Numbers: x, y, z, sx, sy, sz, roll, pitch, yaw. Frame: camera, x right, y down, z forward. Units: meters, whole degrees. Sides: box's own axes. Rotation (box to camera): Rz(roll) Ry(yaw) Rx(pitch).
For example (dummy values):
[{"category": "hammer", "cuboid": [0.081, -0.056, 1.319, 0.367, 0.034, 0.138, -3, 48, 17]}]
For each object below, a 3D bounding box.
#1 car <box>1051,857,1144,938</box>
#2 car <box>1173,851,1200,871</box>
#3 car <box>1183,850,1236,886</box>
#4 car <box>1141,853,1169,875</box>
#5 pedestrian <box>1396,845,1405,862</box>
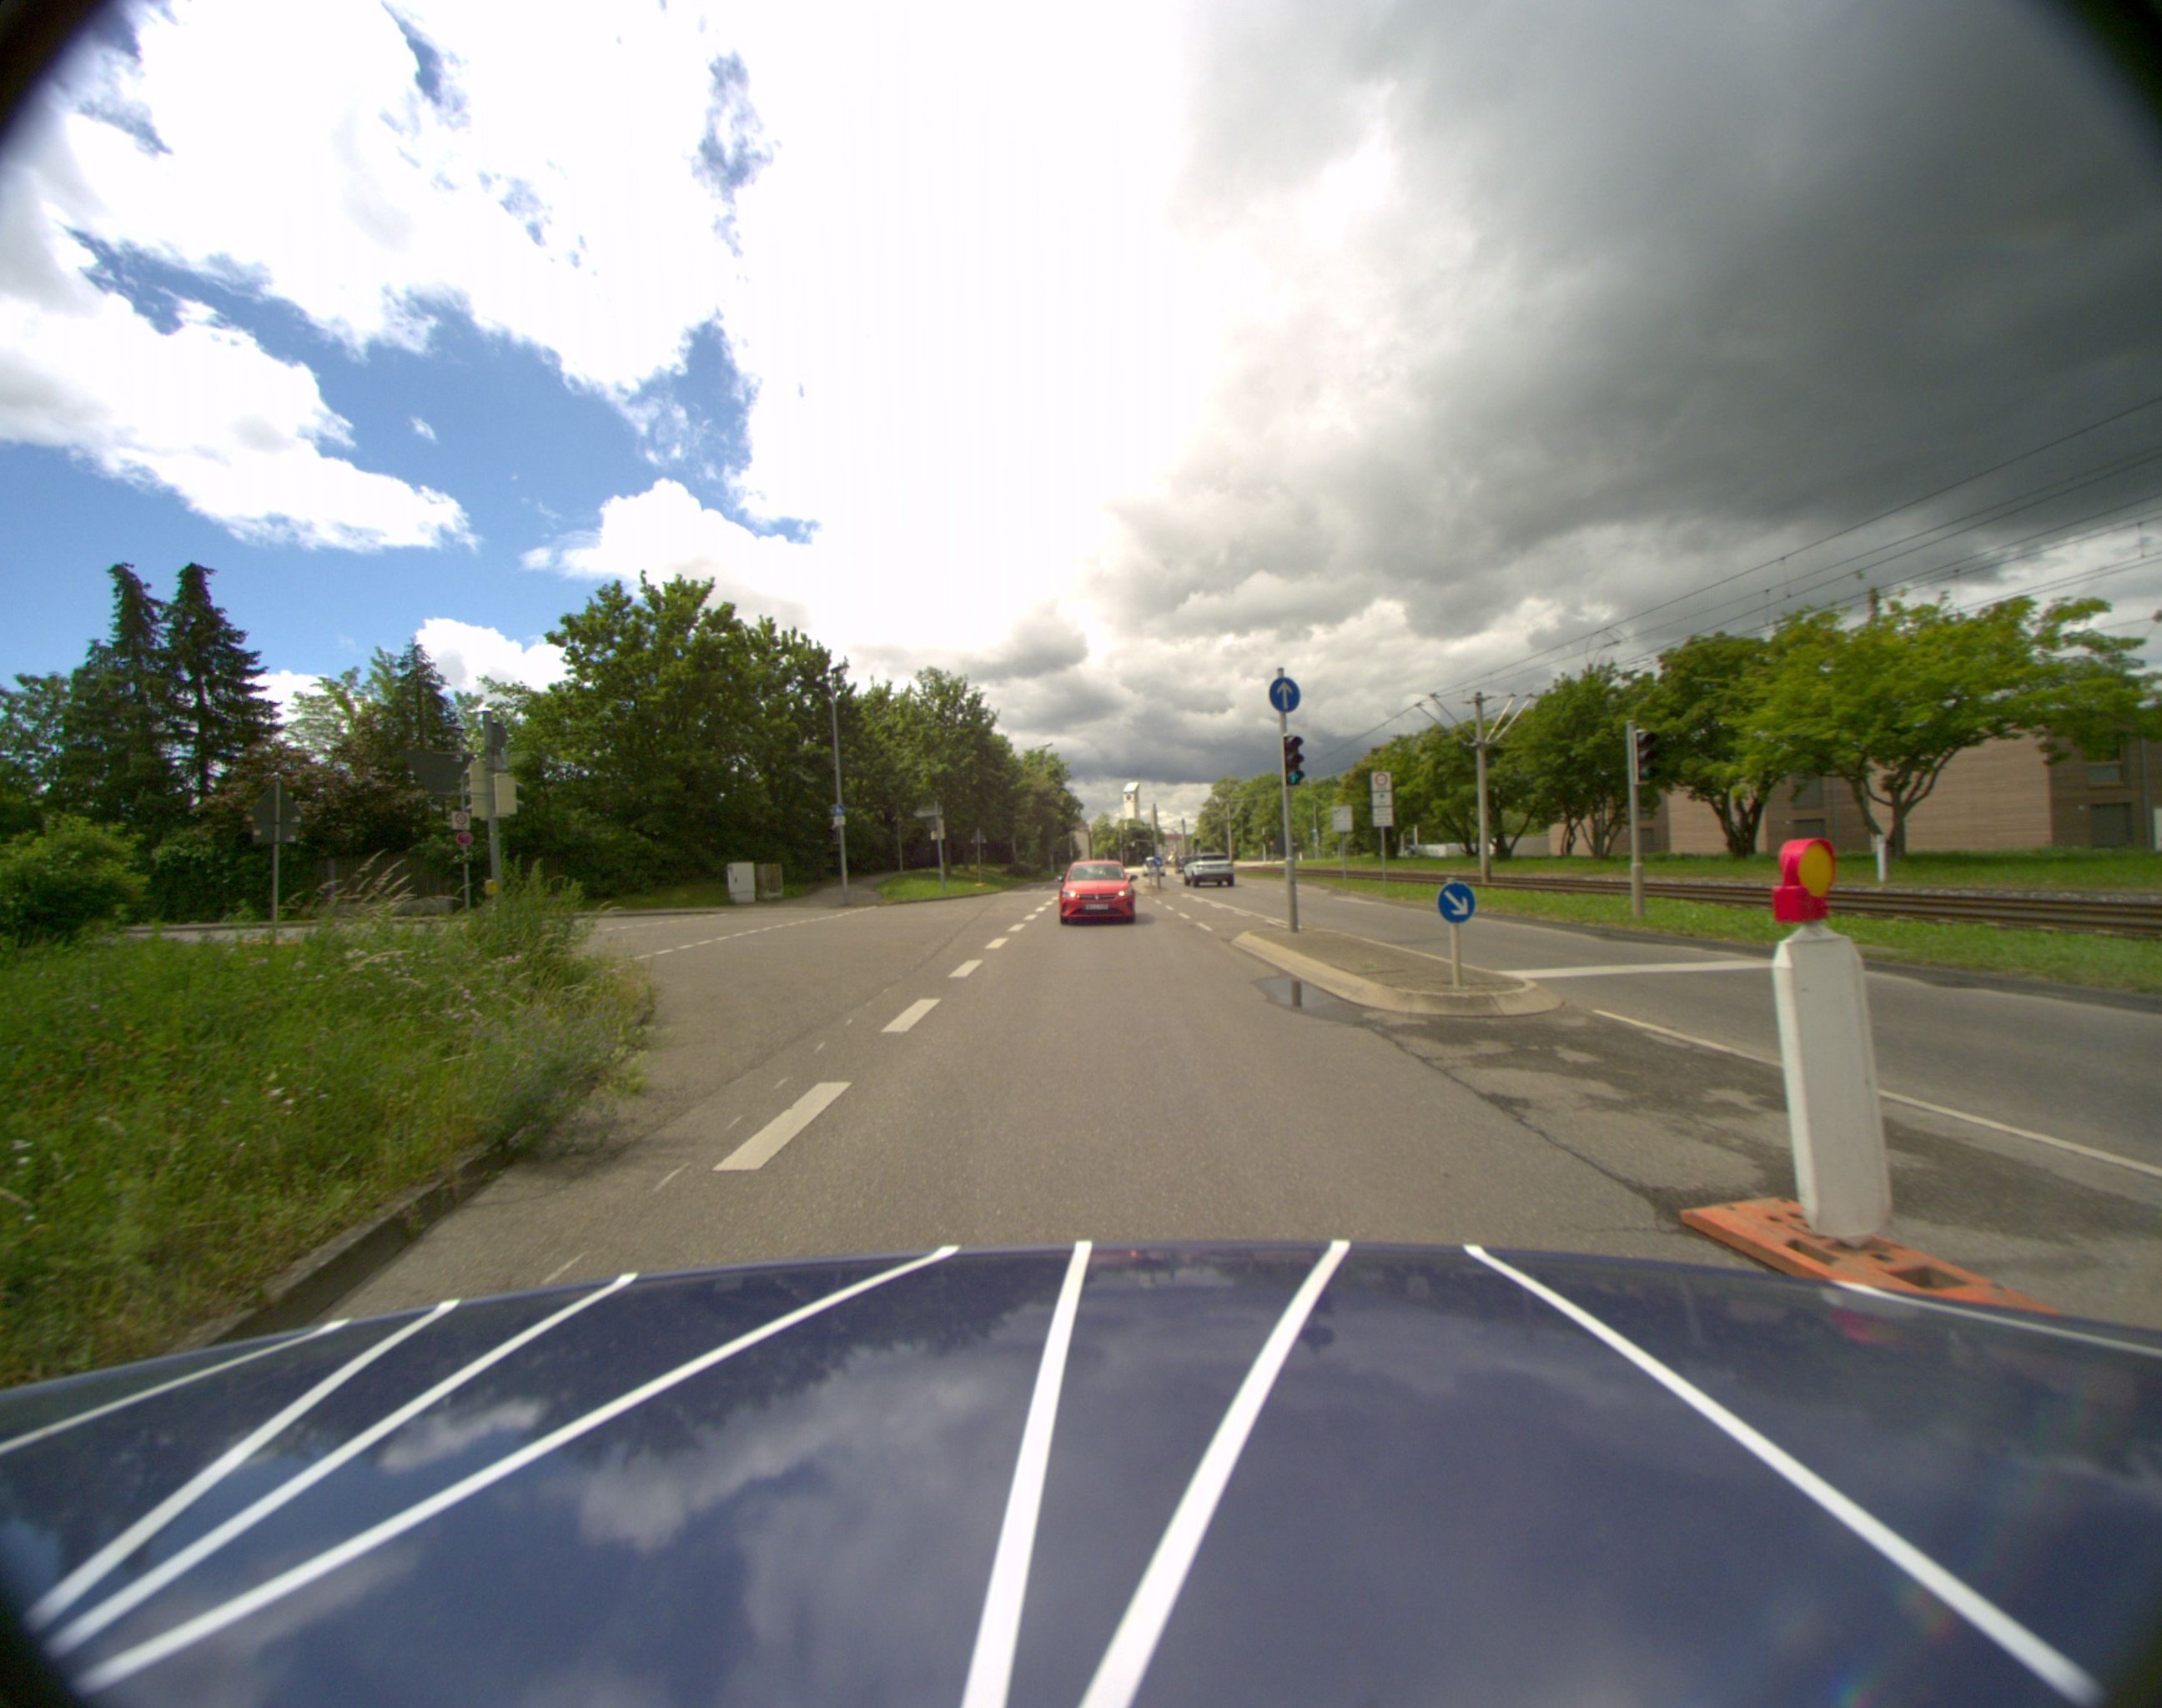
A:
[{"category": "car", "cuboid": [0.361, 0.892, 17.687, 1.790, 1.453, 4.852, -3, 1, 1]}, {"category": "car", "cuboid": [9.591, 0.590, 69.503, 1.998, 1.650, 4.522, -3, 1, 3]}, {"category": "car", "cuboid": [6.200, 0.640, 37.047, 1.864, 1.601, 4.607, -1, 1, 1]}, {"category": "car", "cuboid": [6.029, 0.780, 62.156, 1.733, 1.603, 4.262, -2, 1, -1]}, {"category": "pedestrian", "cuboid": [32.624, -0.049, 77.602, 0.491, 1.713, 0.801, -2, 2, 42]}]
